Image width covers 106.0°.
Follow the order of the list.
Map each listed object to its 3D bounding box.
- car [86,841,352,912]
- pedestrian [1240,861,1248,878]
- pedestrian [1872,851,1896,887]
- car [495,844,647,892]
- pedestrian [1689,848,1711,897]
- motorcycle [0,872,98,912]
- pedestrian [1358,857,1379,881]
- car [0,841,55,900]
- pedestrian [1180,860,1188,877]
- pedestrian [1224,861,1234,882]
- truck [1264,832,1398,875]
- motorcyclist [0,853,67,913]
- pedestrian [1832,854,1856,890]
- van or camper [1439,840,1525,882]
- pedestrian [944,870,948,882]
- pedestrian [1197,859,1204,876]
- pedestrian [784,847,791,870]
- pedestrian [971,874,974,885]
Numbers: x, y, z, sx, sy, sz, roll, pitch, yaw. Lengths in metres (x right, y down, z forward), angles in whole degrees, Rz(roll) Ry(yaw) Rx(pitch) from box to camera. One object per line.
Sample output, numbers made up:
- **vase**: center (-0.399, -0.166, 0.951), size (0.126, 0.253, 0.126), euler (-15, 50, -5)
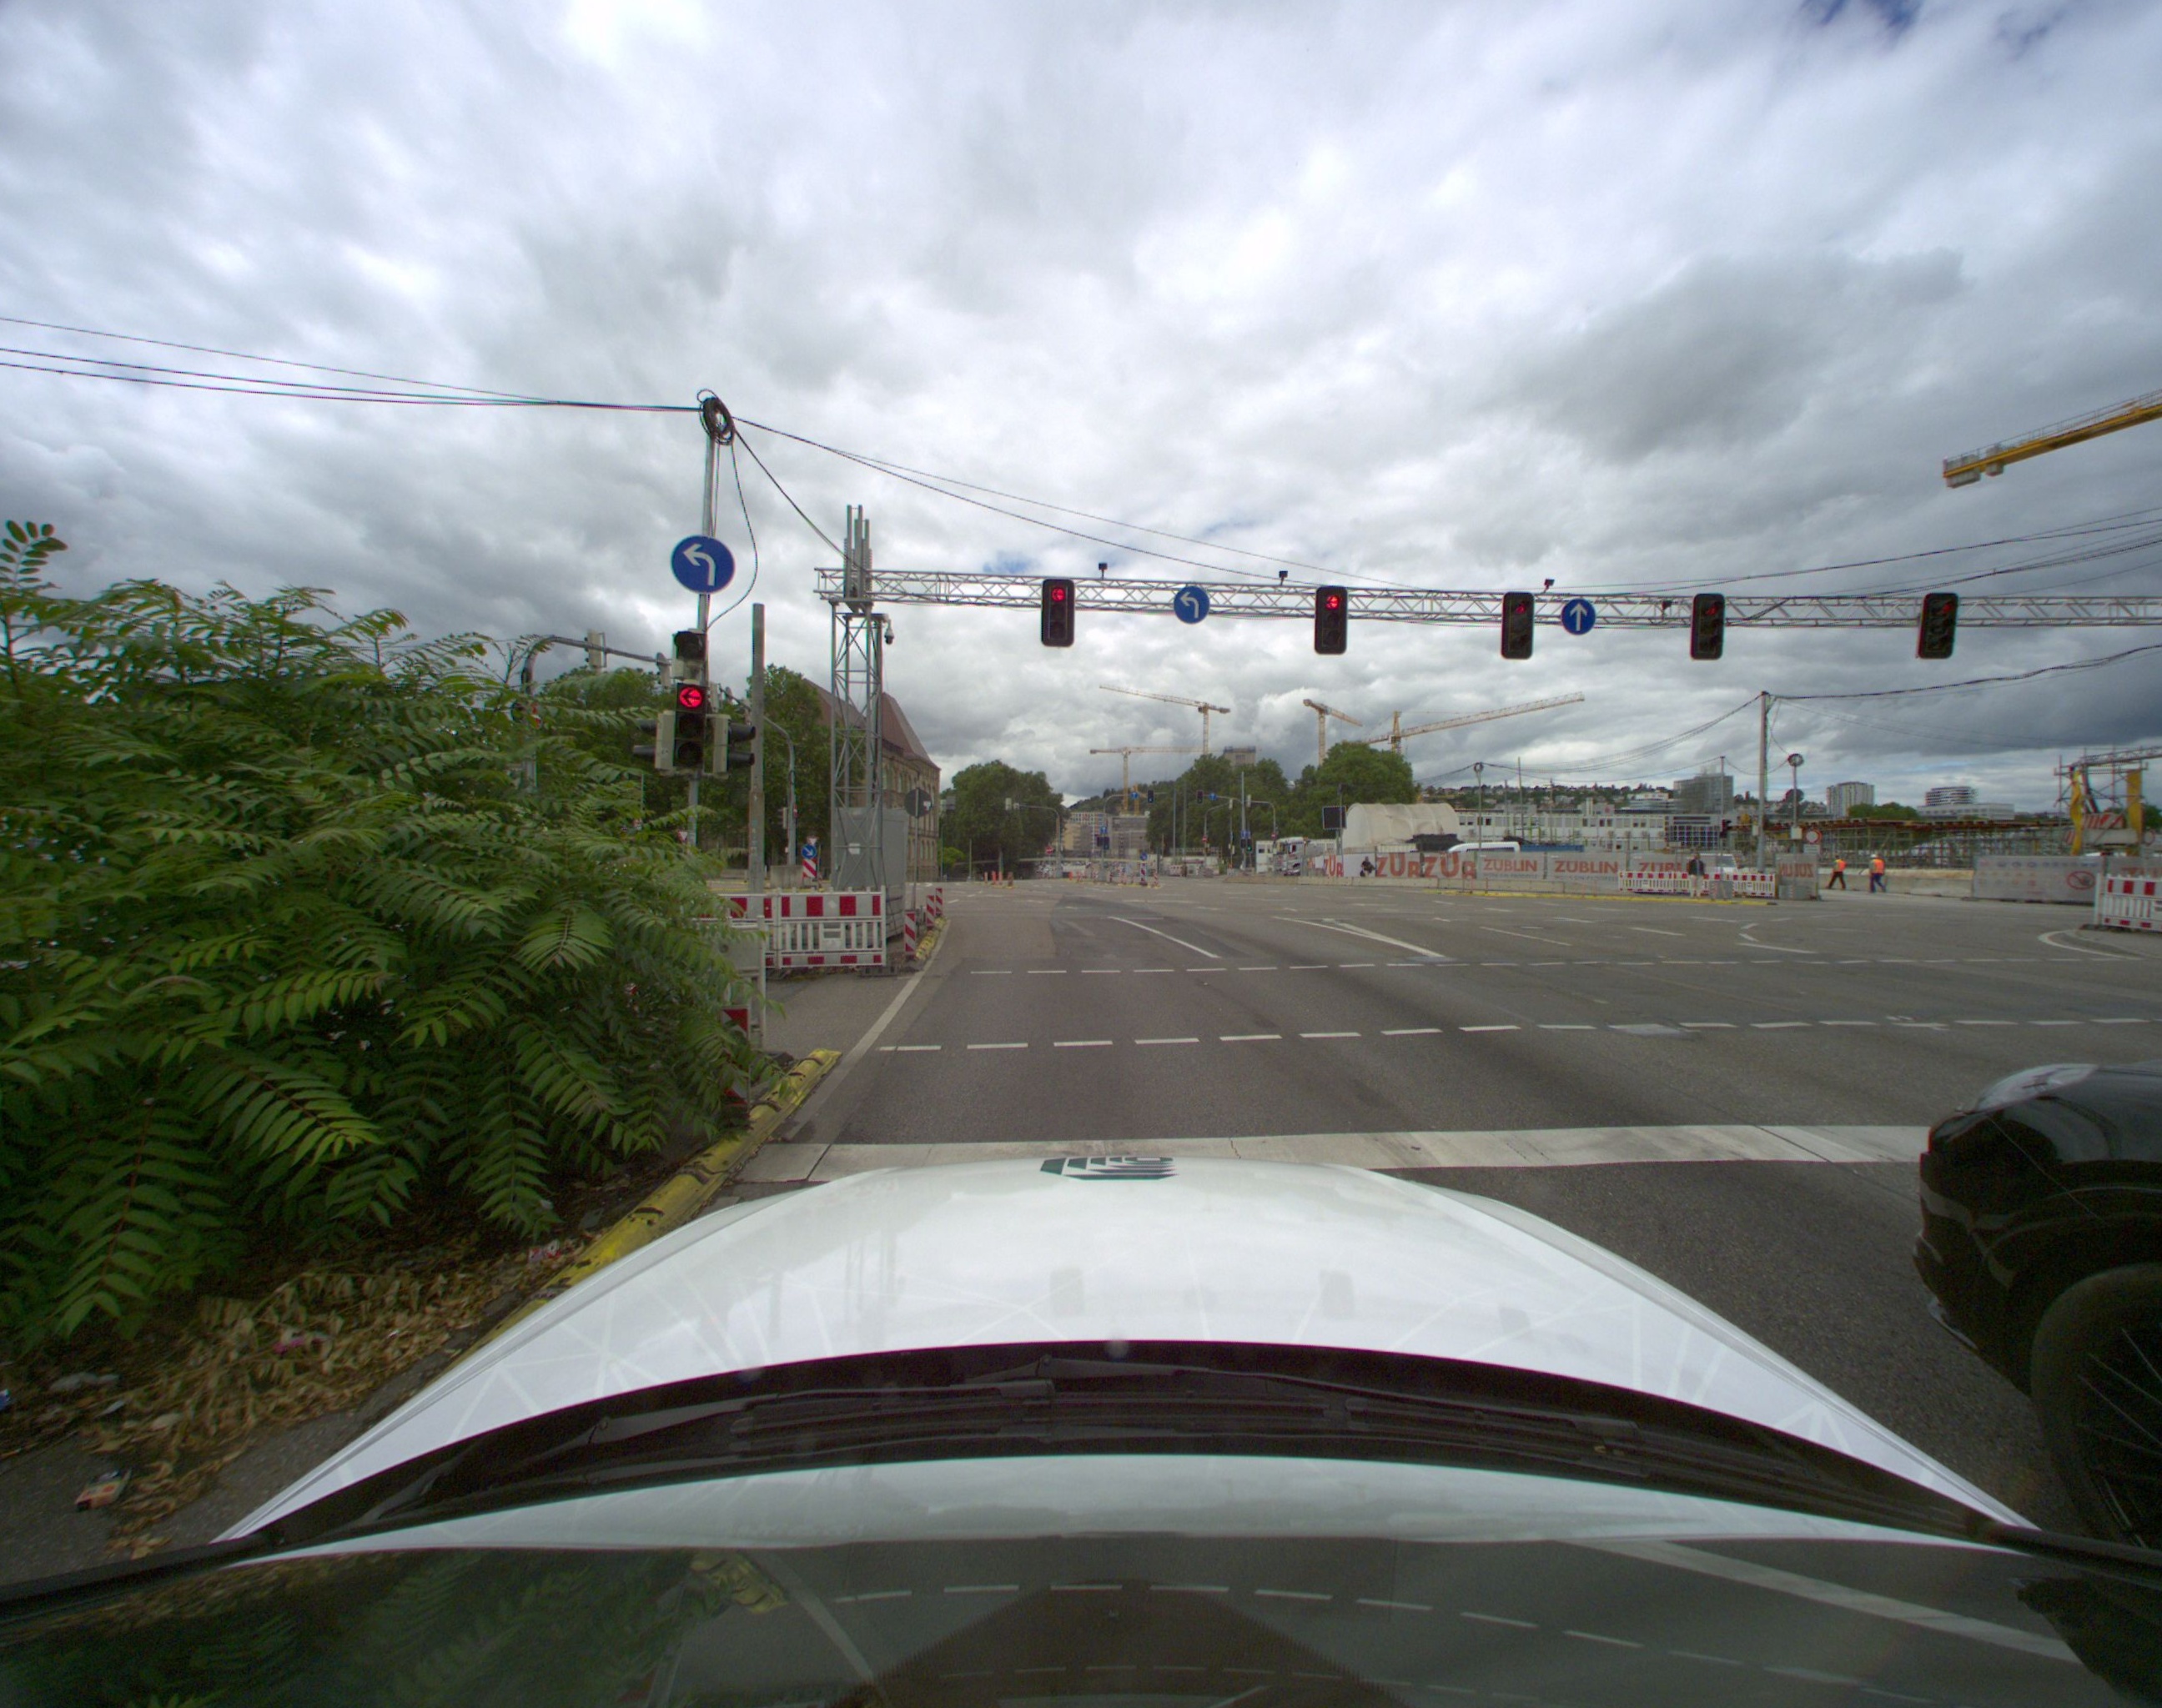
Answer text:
- **car**: center (-21.266, 0.530, 20.260), size (4.302, 1.676, 1.998), euler (0, 0, -3)
- **pedestrian**: center (16.712, 1.578, 83.407), size (0.615, 1.689, 0.716), euler (0, 0, 31)
- **pedestrian**: center (38.101, 0.706, 38.632), size (0.651, 1.717, 0.516), euler (0, 0, -9)
- **car**: center (-18.823, 0.503, 30.254), size (4.315, 1.676, 1.992), euler (0, 0, -12)
- **pedestrian**: center (25.674, 0.744, 33.800), size (0.645, 2.013, 0.520), euler (0, 0, 27)
- **motorcycle**: center (-25.476, 0.912, 19.817), size (2.051, 0.924, 0.756), euler (0, 0, -4)
- **pedestrian**: center (16.917, 0.855, 47.889), size (0.799, 1.378, 0.899), euler (0, 0, -18)
- **car**: center (-32.919, 0.460, 23.315), size (4.302, 1.676, 1.998), euler (0, 0, -3)
- **pedestrian**: center (10.395, 1.438, 82.258), size (0.726, 1.689, 0.678), euler (0, 0, 1)
- **pedestrian**: center (12.248, 1.467, 67.338), size (0.726, 1.689, 0.678), euler (0, 0, 1)
- **truck**: center (25.036, -0.038, 81.592), size (13.062, 4.041, 3.926), euler (0, 0, -18)
- **motorcyclist**: center (-25.622, 0.700, 19.802), size (0.963, 1.423, 0.745), euler (0, 0, -4)
- **pedestrian**: center (38.578, 0.919, 41.183), size (0.651, 1.795, 0.617), euler (0, 0, -7)
- **van or camper**: center (23.148, 0.417, 47.205), size (4.181, 2.357, 2.009), euler (0, 0, 16)
- **pedestrian**: center (-21.434, 3.476, 129.020), size (0.522, 2.014, 0.567), euler (0, 0, 2)
- **pedestrian**: center (12.213, 1.356, 83.240), size (0.564, 1.689, 0.472), euler (0, 0, 1)
- **pedestrian**: center (-26.687, 0.417, 74.078), size (0.530, 2.014, 0.423), euler (1, -1, -42)
- **pedestrian**: center (-20.895, 4.910, 156.862), size (0.522, 2.014, 0.567), euler (0, 0, 2)
